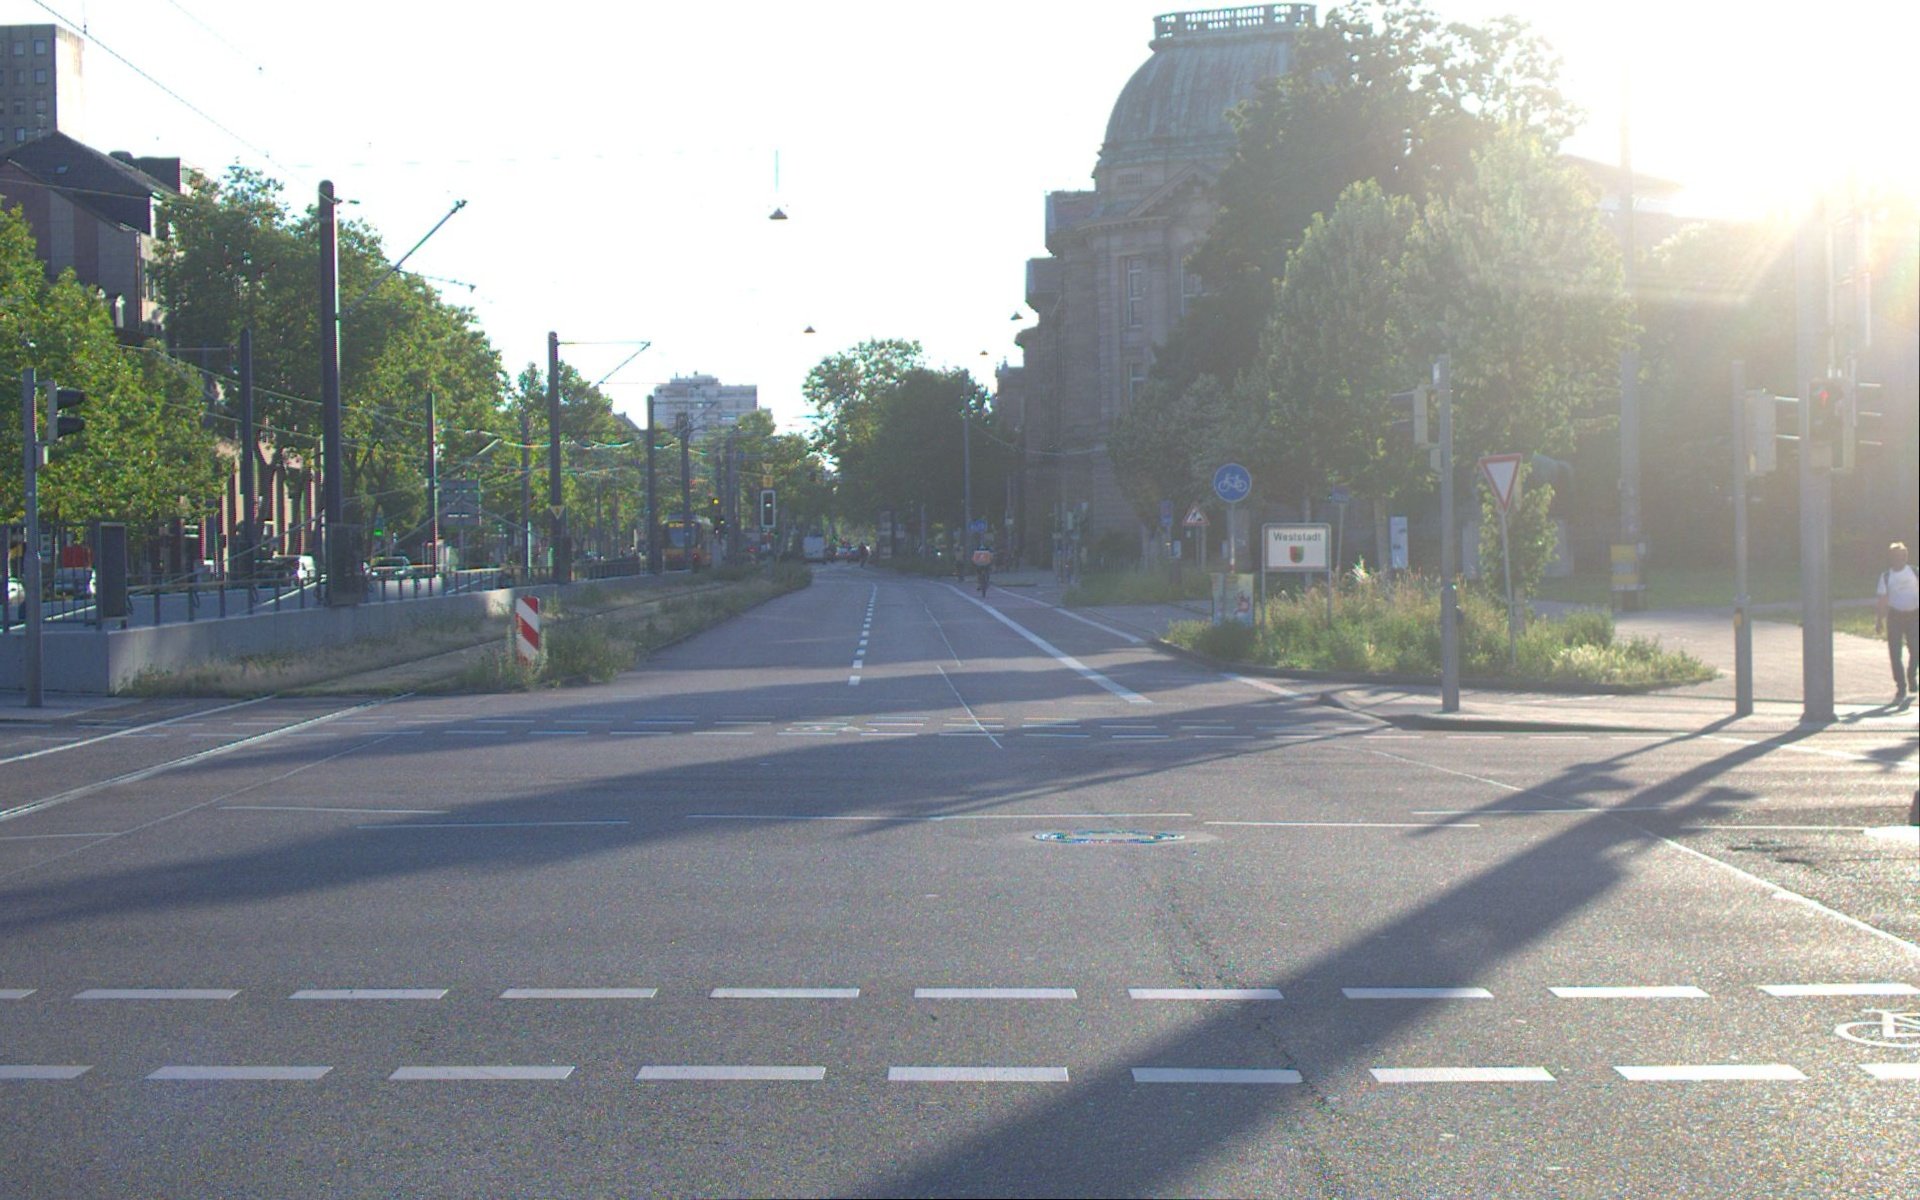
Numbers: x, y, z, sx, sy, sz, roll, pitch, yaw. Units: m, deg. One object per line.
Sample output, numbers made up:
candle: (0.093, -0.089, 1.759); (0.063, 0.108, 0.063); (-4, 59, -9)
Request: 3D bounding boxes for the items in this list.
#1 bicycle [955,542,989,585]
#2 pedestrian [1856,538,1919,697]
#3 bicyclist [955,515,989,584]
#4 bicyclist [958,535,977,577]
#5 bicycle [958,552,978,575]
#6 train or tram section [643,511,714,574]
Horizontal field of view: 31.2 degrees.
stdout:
bicycle: (0.391, -1.216, 113.743); (1.098, 1.394, 2.832); (0, 1, -1)
pedestrian: (10.699, 0.188, 39.361); (0.833, 1.797, 0.810); (0, 1, 15)
bicyclist: (0.396, -1.667, 113.727); (1.082, 2.268, 0.986); (0, 1, -1)
bicyclist: (0.357, -2.118, 164.209); (0.925, 2.007, 0.850); (0, 1, -1)
bicycle: (0.365, -1.748, 164.200); (0.924, 1.108, 2.333); (0, 1, -1)
train or tram section: (-17.962, -3.664, 219.304); (4.385, 3.837, 11.412); (-1, 1, -5)
